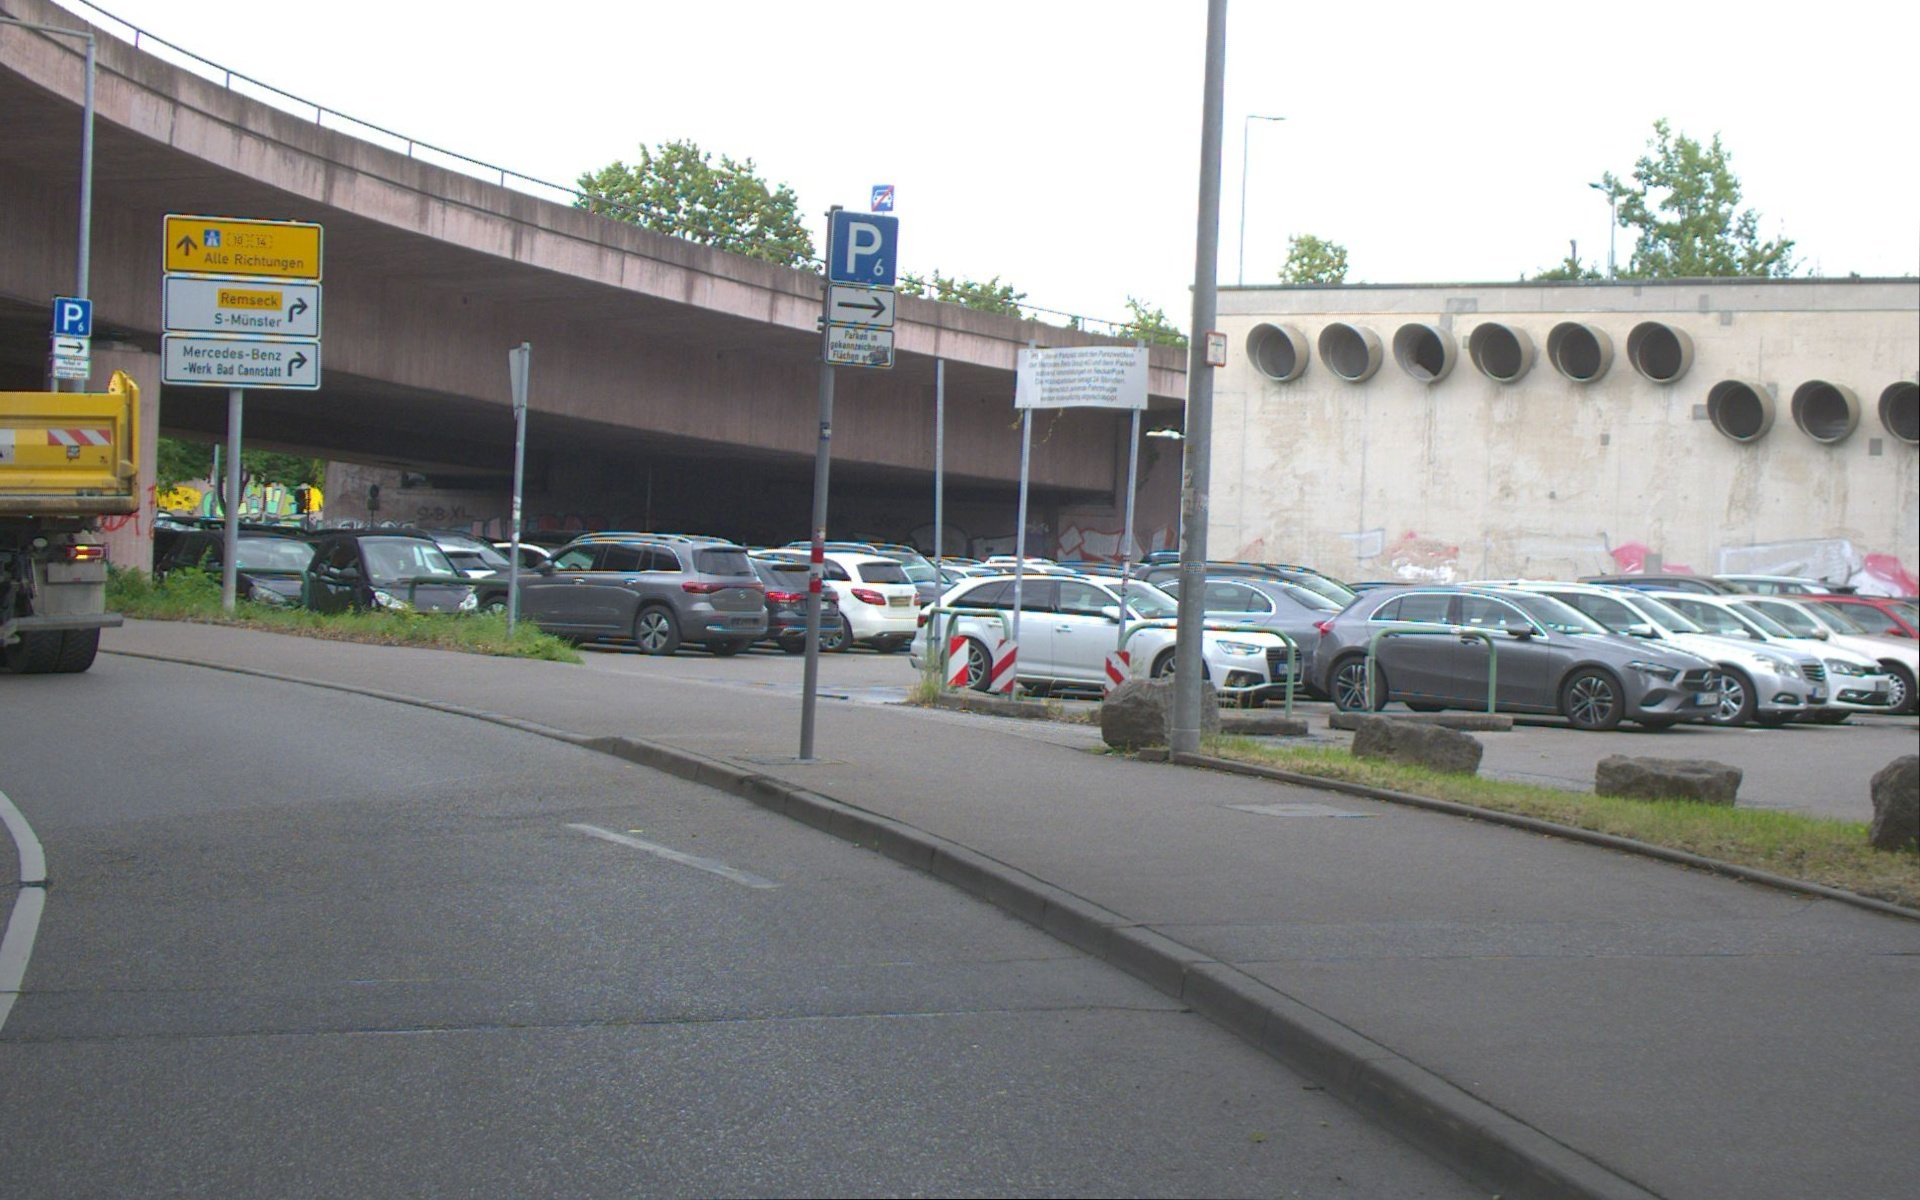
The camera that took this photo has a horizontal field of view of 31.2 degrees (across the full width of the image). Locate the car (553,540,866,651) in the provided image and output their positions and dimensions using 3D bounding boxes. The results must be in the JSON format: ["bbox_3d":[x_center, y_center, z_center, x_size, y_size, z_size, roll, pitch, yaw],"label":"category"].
[{"bbox_3d":[-3.773,-0.079,51.459,4.453,1.444,1.753,3,1,32],"label":"car"}]

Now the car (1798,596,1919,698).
[{"bbox_3d":[14.947,0.753,51.053,4.436,1.420,1.835,3,1,35],"label":"car"}]

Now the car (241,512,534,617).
[{"bbox_3d":[-8.716,-0.547,52.261,4.186,1.416,1.835,3,1,32],"label":"car"}]

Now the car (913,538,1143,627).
[{"bbox_3d":[1.340,-0.352,68.453,4.186,1.587,1.835,3,1,32],"label":"car"}]

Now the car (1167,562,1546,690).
[{"bbox_3d":[5.248,0.325,45.698,4.614,1.439,1.855,3,1,33],"label":"car"}]

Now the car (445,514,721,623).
[{"bbox_3d":[-6.154,-0.517,55.940,4.186,1.587,1.835,3,1,32],"label":"car"}]

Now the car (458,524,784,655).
[{"bbox_3d":[-4.880,-0.165,49.223,4.464,1.669,1.742,3,1,32],"label":"car"}]

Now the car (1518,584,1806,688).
[{"bbox_3d":[10.906,0.541,53.478,3.971,1.388,1.766,3,1,33],"label":"car"}]

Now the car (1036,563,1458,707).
[{"bbox_3d":[3.416,0.390,41.287,4.680,1.470,1.855,3,1,33],"label":"car"}]

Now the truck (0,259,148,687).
[{"bbox_3d":[-10.357,-1.206,32.990,2.758,3.685,7.881,-1,2,-30],"label":"truck"}]

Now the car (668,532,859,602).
[{"bbox_3d":[-4.650,-0.788,81.310,4.186,1.460,1.835,3,1,32],"label":"car"}]

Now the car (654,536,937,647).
[{"bbox_3d":[-2.581,-0.145,53.651,4.082,1.551,1.753,3,1,32],"label":"car"}]

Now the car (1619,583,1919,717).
[{"bbox_3d":[11.092,0.637,44.860,4.495,1.508,1.835,3,1,35],"label":"car"}]

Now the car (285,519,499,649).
[{"bbox_3d":[-6.983,-0.215,42.134,1.539,1.474,2.761,2,1,-34],"label":"car"}]

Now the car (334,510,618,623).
[{"bbox_3d":[-7.625,-0.535,54.036,4.186,1.587,1.835,3,1,32],"label":"car"}]

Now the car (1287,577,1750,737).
[{"bbox_3d":[5.891,0.571,36.469,4.436,1.420,1.835,3,1,35],"label":"car"}]

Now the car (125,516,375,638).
[{"bbox_3d":[-9.521,-0.331,45.883,1.730,1.474,4.249,2,1,-34],"label":"car"}]

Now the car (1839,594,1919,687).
[{"bbox_3d":[16.419,0.714,54.459,4.436,1.420,1.835,3,1,35],"label":"car"}]

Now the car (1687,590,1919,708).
[{"bbox_3d":[12.423,0.680,47.049,4.436,1.420,1.835,3,1,35],"label":"car"}]

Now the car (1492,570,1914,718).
[{"bbox_3d":[8.824,0.495,40.977,4.495,1.508,1.835,3,1,35],"label":"car"}]

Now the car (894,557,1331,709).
[{"bbox_3d":[1.703,0.352,39.326,4.681,1.470,1.854,3,1,35],"label":"car"}]

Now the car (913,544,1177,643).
[{"bbox_3d":[1.456,-0.121,59.504,4.255,1.504,1.706,3,1,32],"label":"car"}]

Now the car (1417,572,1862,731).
[{"bbox_3d":[7.596,0.547,38.618,4.495,1.508,1.835,3,1,35],"label":"car"}]

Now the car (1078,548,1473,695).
[{"bbox_3d":[3.987,0.245,43.780,4.614,1.622,1.855,3,1,33],"label":"car"}]

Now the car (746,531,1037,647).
[{"bbox_3d":[-1.131,-0.187,55.686,4.426,1.685,1.753,3,1,32],"label":"car"}]
